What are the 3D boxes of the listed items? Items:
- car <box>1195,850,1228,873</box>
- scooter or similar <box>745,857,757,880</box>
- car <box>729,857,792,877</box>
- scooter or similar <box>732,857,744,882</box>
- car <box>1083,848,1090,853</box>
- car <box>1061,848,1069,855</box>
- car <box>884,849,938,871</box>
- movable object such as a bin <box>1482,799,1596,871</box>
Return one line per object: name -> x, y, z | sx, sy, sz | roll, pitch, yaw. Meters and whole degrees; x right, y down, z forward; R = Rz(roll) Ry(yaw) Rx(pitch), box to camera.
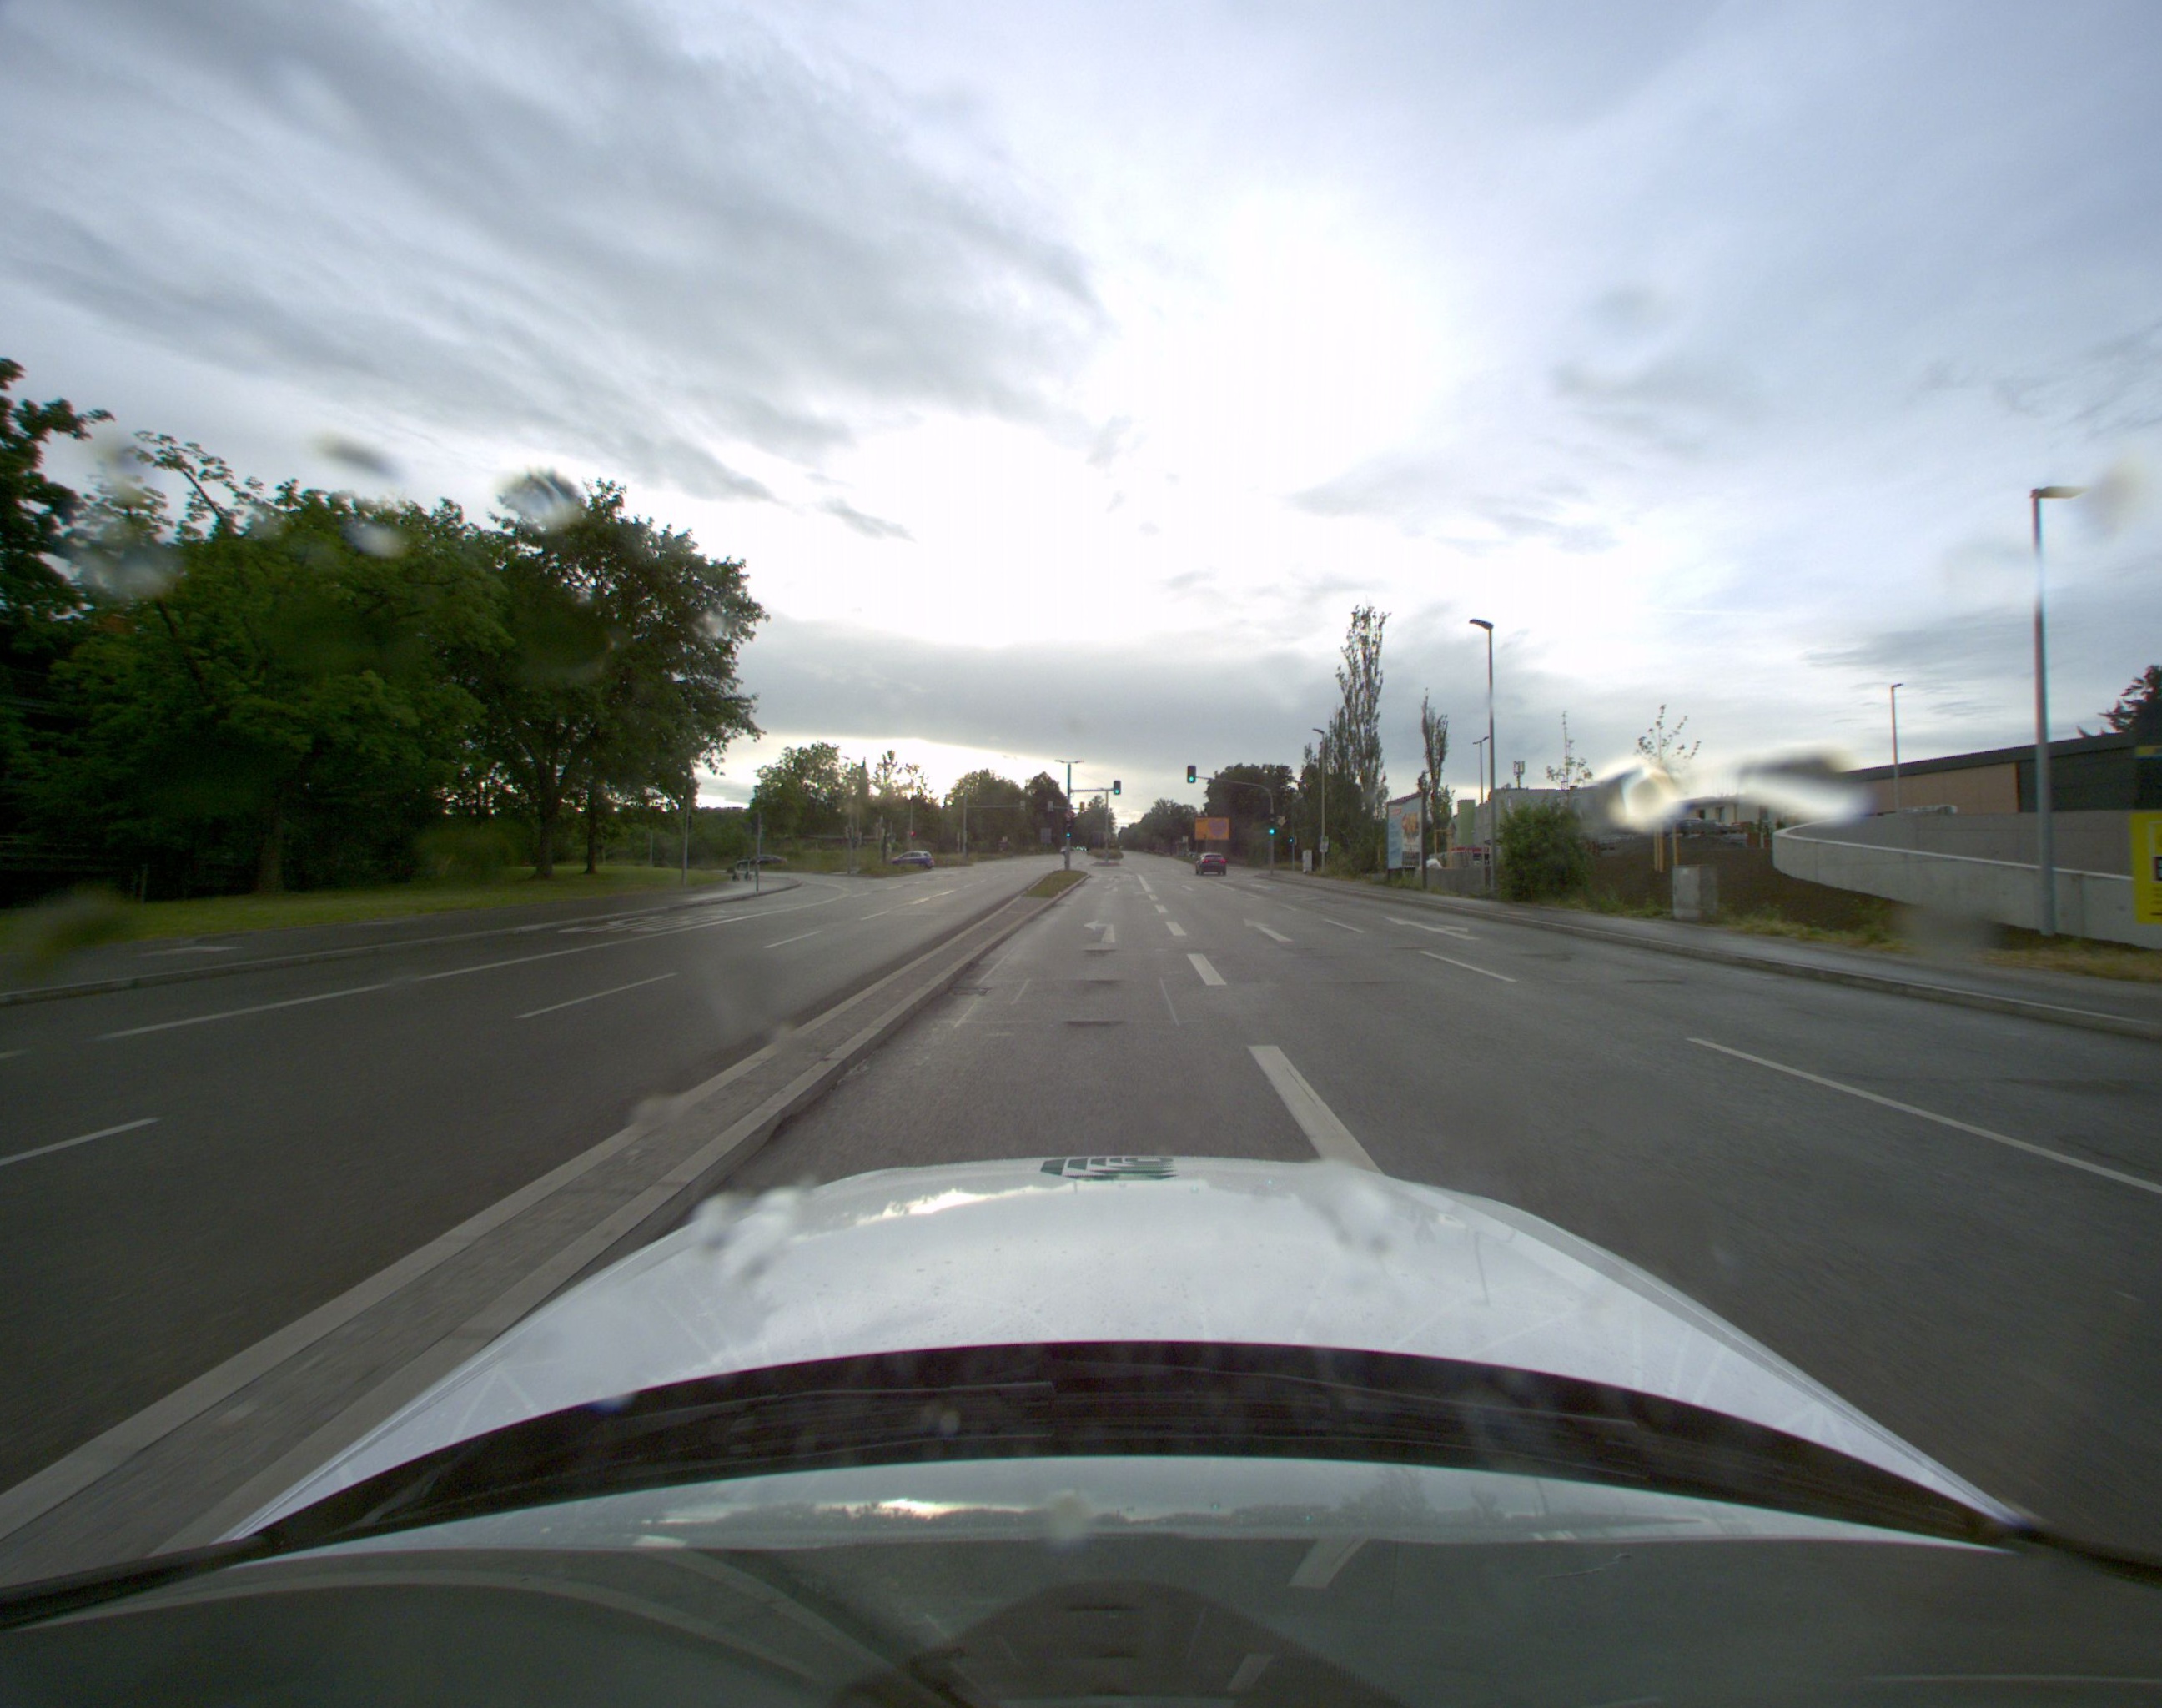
car -> 8.814, 0.508, 55.258 | 1.738, 1.470, 4.168 | 1, 0, 2
scooter or similar -> -17.586, 0.765, 43.387 | 0.311, 1.218, 1.303 | 1, 0, -11
car -> -28.431, 1.157, 72.269 | 4.638, 1.583, 2.170 | 2, -2, -3
scooter or similar -> -17.564, 0.782, 41.690 | 0.311, 1.218, 1.303 | 1, 0, -11
car -> 1.718, -0.980, 259.836 | 1.886, 1.534, 4.491 | 1, 0, 2
car -> -3.809, -0.610, 197.271 | 1.762, 1.596, 4.491 | 1, 0, 2
car -> -14.904, 0.571, 71.515 | 4.164, 1.718, 2.086 | 2, -2, 5
movable object such as a bin -> 22.555, -0.893, 40.458 | 2.298, 3.276, 5.415 | 1, 0, -5
